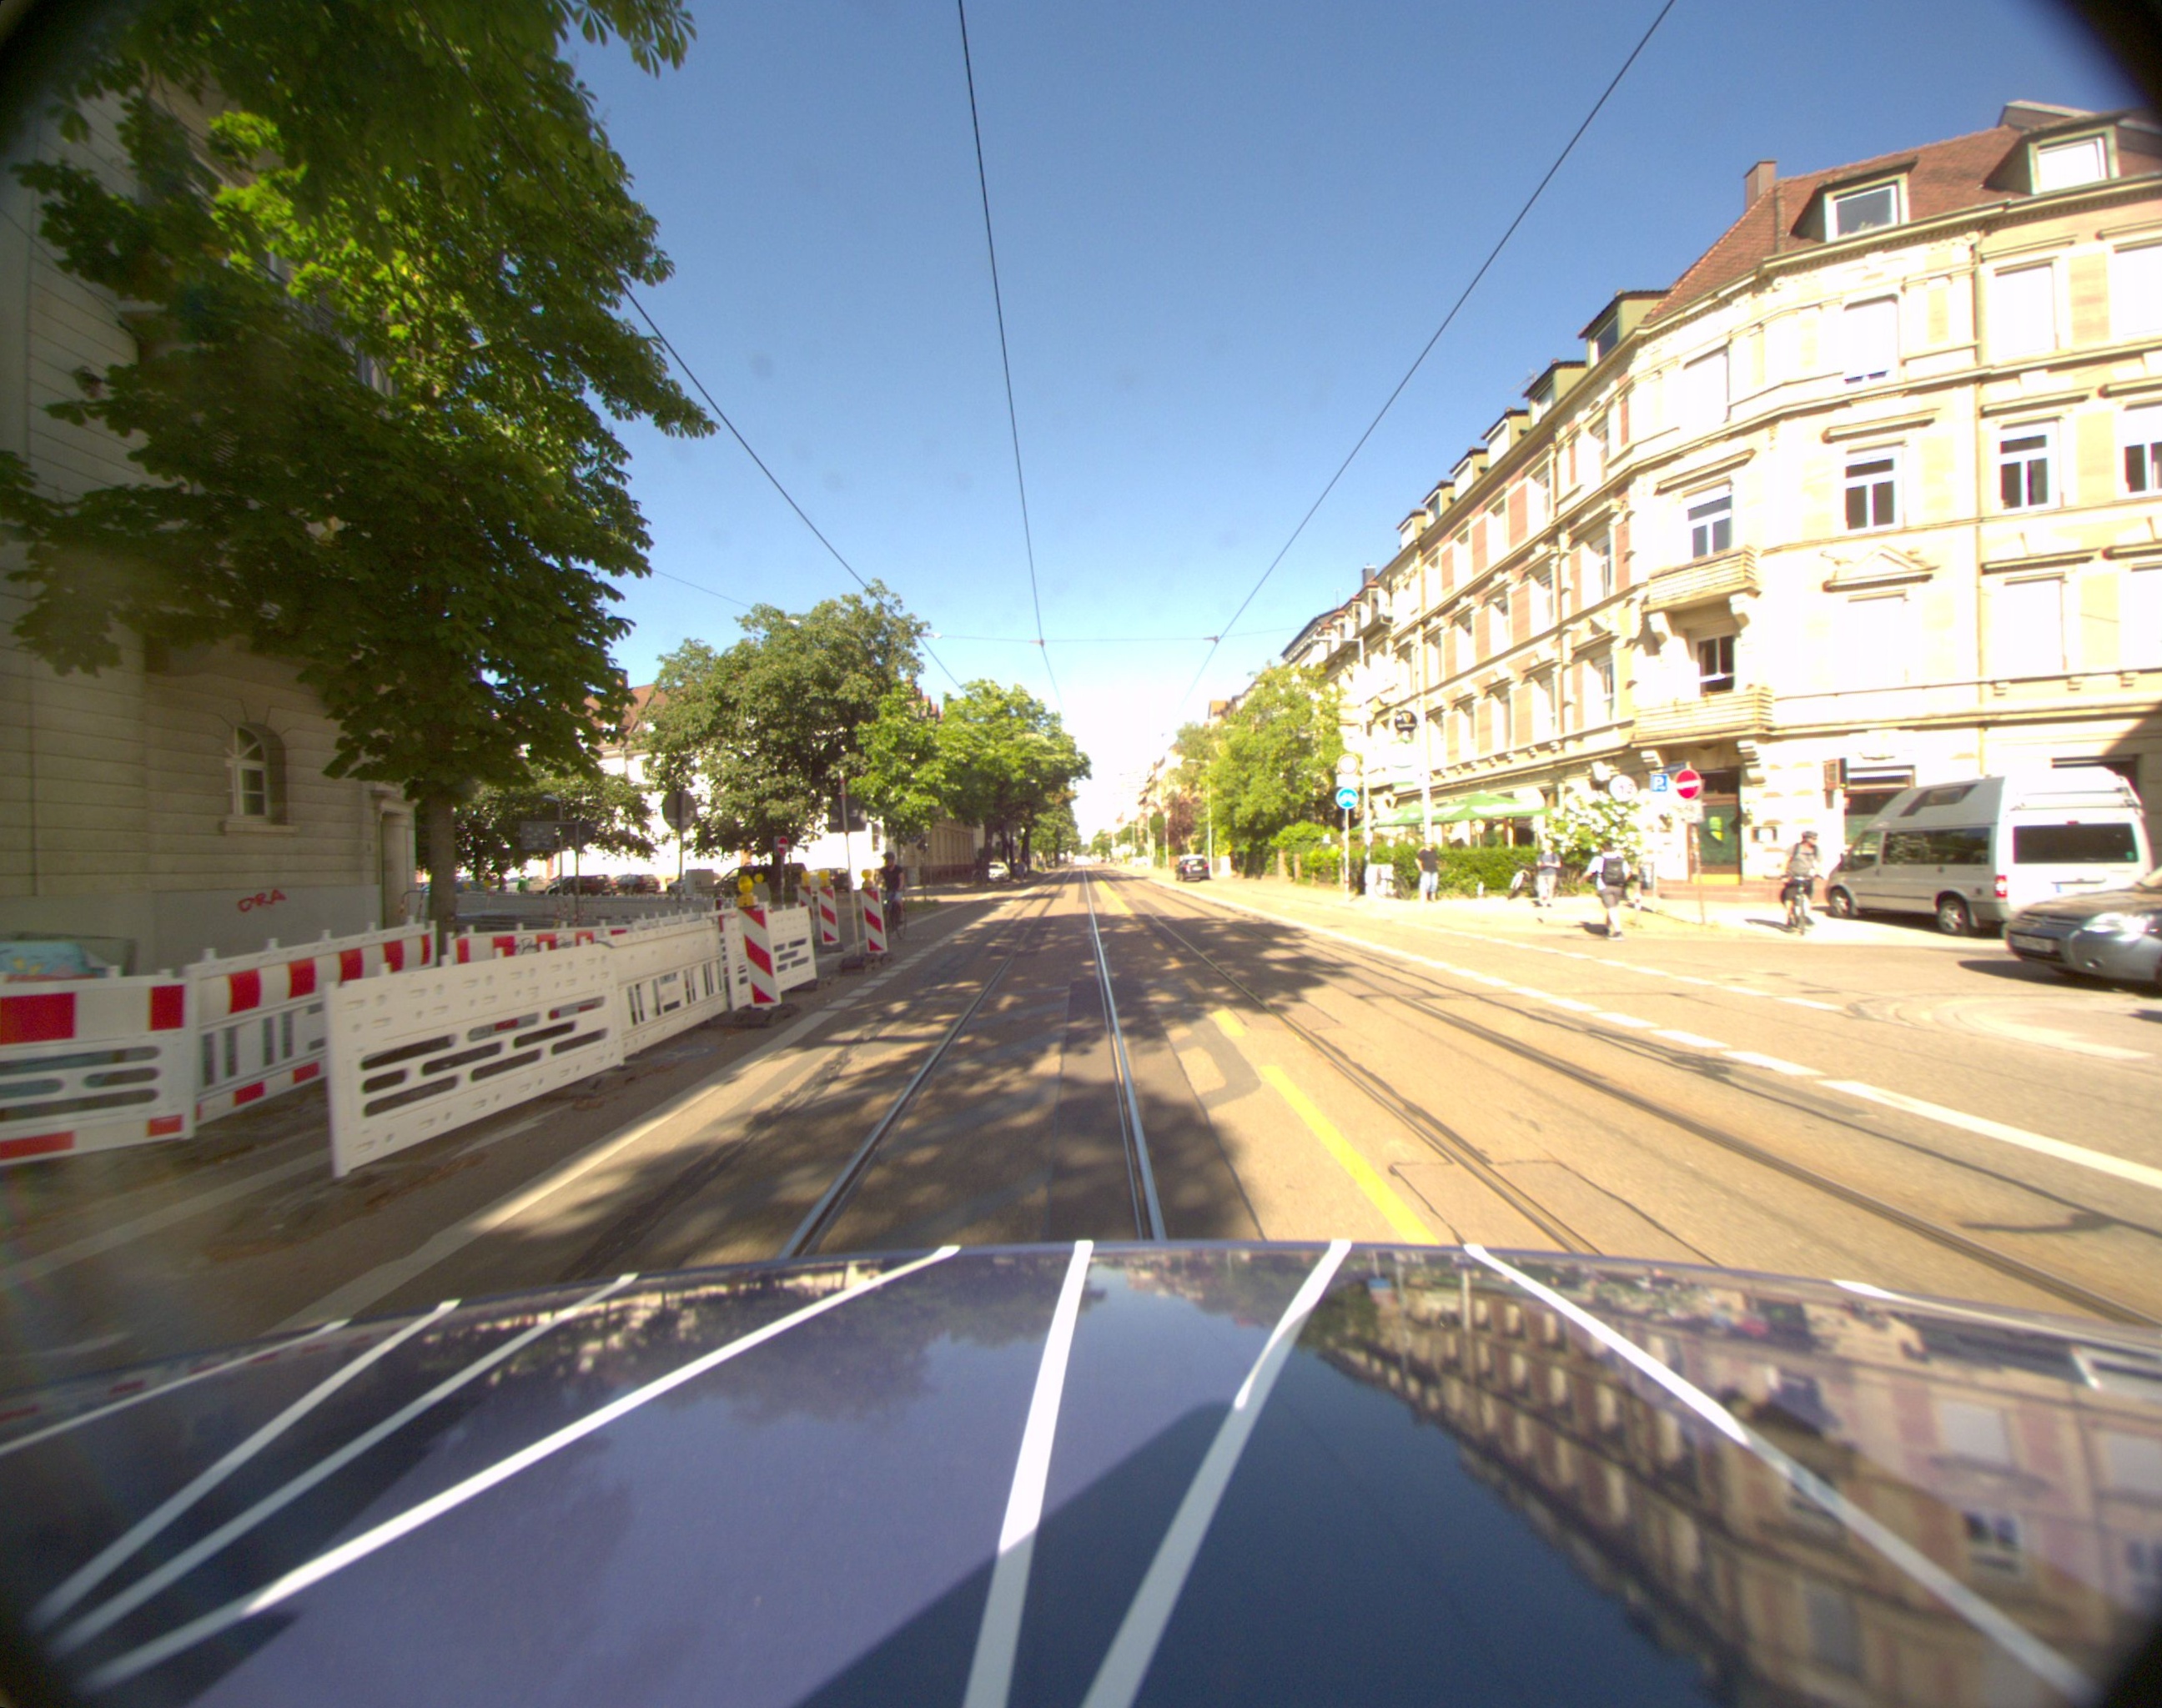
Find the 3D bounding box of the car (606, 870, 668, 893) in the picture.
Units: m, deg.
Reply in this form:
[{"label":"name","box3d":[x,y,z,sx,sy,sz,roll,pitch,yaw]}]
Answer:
[{"label":"car","box3d":[-29.356,1.809,50.185,3.952,1.408,1.642,-1,1,28]}]

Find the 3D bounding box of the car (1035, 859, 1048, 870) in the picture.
[{"label":"car","box3d":[-5.657,1.439,108.119,1.761,1.458,4.613,0,0,-2]}]

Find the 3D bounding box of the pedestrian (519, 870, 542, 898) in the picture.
[{"label":"pedestrian","box3d":[-31.984,1.756,44.153,0.572,1.559,0.845,-1,1,24]}]

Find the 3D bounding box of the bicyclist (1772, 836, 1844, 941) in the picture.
[{"label":"bicyclist","box3d":[13.380,0.600,14.015,0.705,1.843,0.987,0,2,28]}]

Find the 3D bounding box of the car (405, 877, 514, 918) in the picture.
[{"label":"car","box3d":[-24.237,1.672,29.640,3.962,1.477,1.791,-1,-2,26]}]

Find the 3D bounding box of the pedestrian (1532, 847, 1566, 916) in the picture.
[{"label":"pedestrian","box3d":[11.636,0.669,18.876,0.705,1.645,0.834,0,2,32]}]

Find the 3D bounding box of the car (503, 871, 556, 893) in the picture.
[{"label":"car","box3d":[-40.948,2.068,56.413,3.627,1.491,1.642,-1,1,28]}]

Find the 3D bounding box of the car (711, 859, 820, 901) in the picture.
[{"label":"car","box3d":[-15.510,1.263,37.273,5.054,1.880,2.003,-1,2,26]}]

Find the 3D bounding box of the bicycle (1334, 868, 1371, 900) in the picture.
[{"label":"bicycle","box3d":[9.530,1.022,26.766,0.515,1.032,2.223,-1,0,1]}]

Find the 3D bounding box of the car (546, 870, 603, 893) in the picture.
[{"label":"car","box3d":[-35.360,1.945,53.049,3.759,1.491,1.642,-1,1,28]}]

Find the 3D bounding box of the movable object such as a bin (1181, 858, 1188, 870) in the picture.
[{"label":"movable object such as a bin","box3d":[10.325,0.980,75.821,0.590,1.169,0.665,-1,0,-4]}]

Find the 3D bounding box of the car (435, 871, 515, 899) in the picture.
[{"label":"car","box3d":[-39.126,2.010,49.028,5.054,1.621,2.003,-1,2,26]}]

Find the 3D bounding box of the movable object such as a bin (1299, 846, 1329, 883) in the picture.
[{"label":"movable object such as a bin","box3d":[11.418,0.524,37.258,1.287,1.721,1.043,-4,0,16]}]

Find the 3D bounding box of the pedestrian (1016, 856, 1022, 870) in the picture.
[{"label":"pedestrian","box3d":[-9.008,1.335,110.935,0.743,2.002,0.687,-1,0,-8]}]

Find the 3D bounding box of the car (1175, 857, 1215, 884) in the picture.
[{"label":"car","box3d":[7.222,1.016,48.624,1.869,1.567,4.588,1,0,0]}]

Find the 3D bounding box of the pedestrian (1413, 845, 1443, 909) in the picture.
[{"label":"pedestrian","box3d":[9.746,0.634,21.327,0.558,1.771,0.538,-1,1,-3]}]

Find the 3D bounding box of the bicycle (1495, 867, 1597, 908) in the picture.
[{"label":"bicycle","box3d":[12.794,0.918,20.986,2.244,1.038,0.876,-1,1,10]}]

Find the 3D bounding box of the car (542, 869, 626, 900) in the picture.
[{"label":"car","box3d":[-28.828,1.785,44.080,4.608,1.601,1.938,-1,2,26]}]

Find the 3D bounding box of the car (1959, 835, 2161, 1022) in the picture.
[{"label":"car","box3d":[12.277,0.706,7.694,4.044,1.797,1.794,-1,2,21]}]

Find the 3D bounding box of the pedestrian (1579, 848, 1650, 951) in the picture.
[{"label":"pedestrian","box3d":[9.460,0.788,13.504,0.693,1.757,0.867,-1,0,7]}]

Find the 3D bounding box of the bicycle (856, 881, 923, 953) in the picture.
[{"label":"bicycle","box3d":[-3.781,1.211,15.185,0.763,1.235,2.096,-2,0,0]}]

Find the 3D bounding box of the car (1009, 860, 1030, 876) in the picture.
[{"label":"car","box3d":[-5.891,1.296,73.500,1.824,1.475,4.748,0,0,-2]}]

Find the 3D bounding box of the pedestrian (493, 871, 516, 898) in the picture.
[{"label":"pedestrian","box3d":[-34.246,1.822,45.114,0.572,1.559,0.845,-1,1,24]}]

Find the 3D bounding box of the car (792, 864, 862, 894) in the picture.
[{"label":"car","box3d":[-14.259,1.402,42.678,3.431,1.530,1.725,-1,3,28]}]

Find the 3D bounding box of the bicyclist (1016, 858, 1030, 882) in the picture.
[{"label":"bicyclist","box3d":[-3.708,0.995,48.390,0.776,1.505,1.229,-2,0,-2]}]

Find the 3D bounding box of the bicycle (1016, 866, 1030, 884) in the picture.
[{"label":"bicycle","box3d":[-3.698,1.338,48.292,0.776,1.080,2.058,-2,0,-2]}]

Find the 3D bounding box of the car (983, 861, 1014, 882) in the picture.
[{"label":"car","box3d":[-5.941,1.230,55.060,1.705,1.463,4.214,0,0,1]}]

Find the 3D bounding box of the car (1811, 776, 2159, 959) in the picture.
[{"label":"car","box3d":[16.341,0.164,14.237,1.889,2.825,4.788,-1,1,17]}]

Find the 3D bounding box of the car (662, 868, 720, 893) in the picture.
[{"label":"car","box3d":[-24.457,1.654,47.657,3.493,1.491,1.441,-1,2,28]}]

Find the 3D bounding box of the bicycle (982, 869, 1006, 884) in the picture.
[{"label":"bicycle","box3d":[-5.737,1.464,50.001,1.570,0.974,0.640,0,0,-8]}]

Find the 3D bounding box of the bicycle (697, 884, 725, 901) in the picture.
[{"label":"bicycle","box3d":[-17.503,1.815,35.937,1.379,0.773,0.420,0,1,25]}]

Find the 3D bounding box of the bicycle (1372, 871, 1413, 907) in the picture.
[{"label":"bicycle","box3d":[9.360,1.038,22.893,0.528,0.975,1.777,-1,0,0]}]

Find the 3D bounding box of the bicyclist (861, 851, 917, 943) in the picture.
[{"label":"bicyclist","box3d":[-3.798,0.826,15.115,0.763,1.728,1.046,-2,0,0]}]

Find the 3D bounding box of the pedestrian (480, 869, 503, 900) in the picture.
[{"label":"pedestrian","box3d":[-36.022,1.883,46.444,0.572,1.831,0.845,-1,1,24]}]

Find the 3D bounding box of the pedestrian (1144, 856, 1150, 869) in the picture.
[{"label":"pedestrian","box3d":[9.257,1.197,106.525,0.809,1.825,0.754,-1,0,9]}]

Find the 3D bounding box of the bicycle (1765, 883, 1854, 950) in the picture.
[{"label":"bicycle","box3d":[13.383,1.112,14.016,0.705,1.049,1.838,0,2,28]}]
